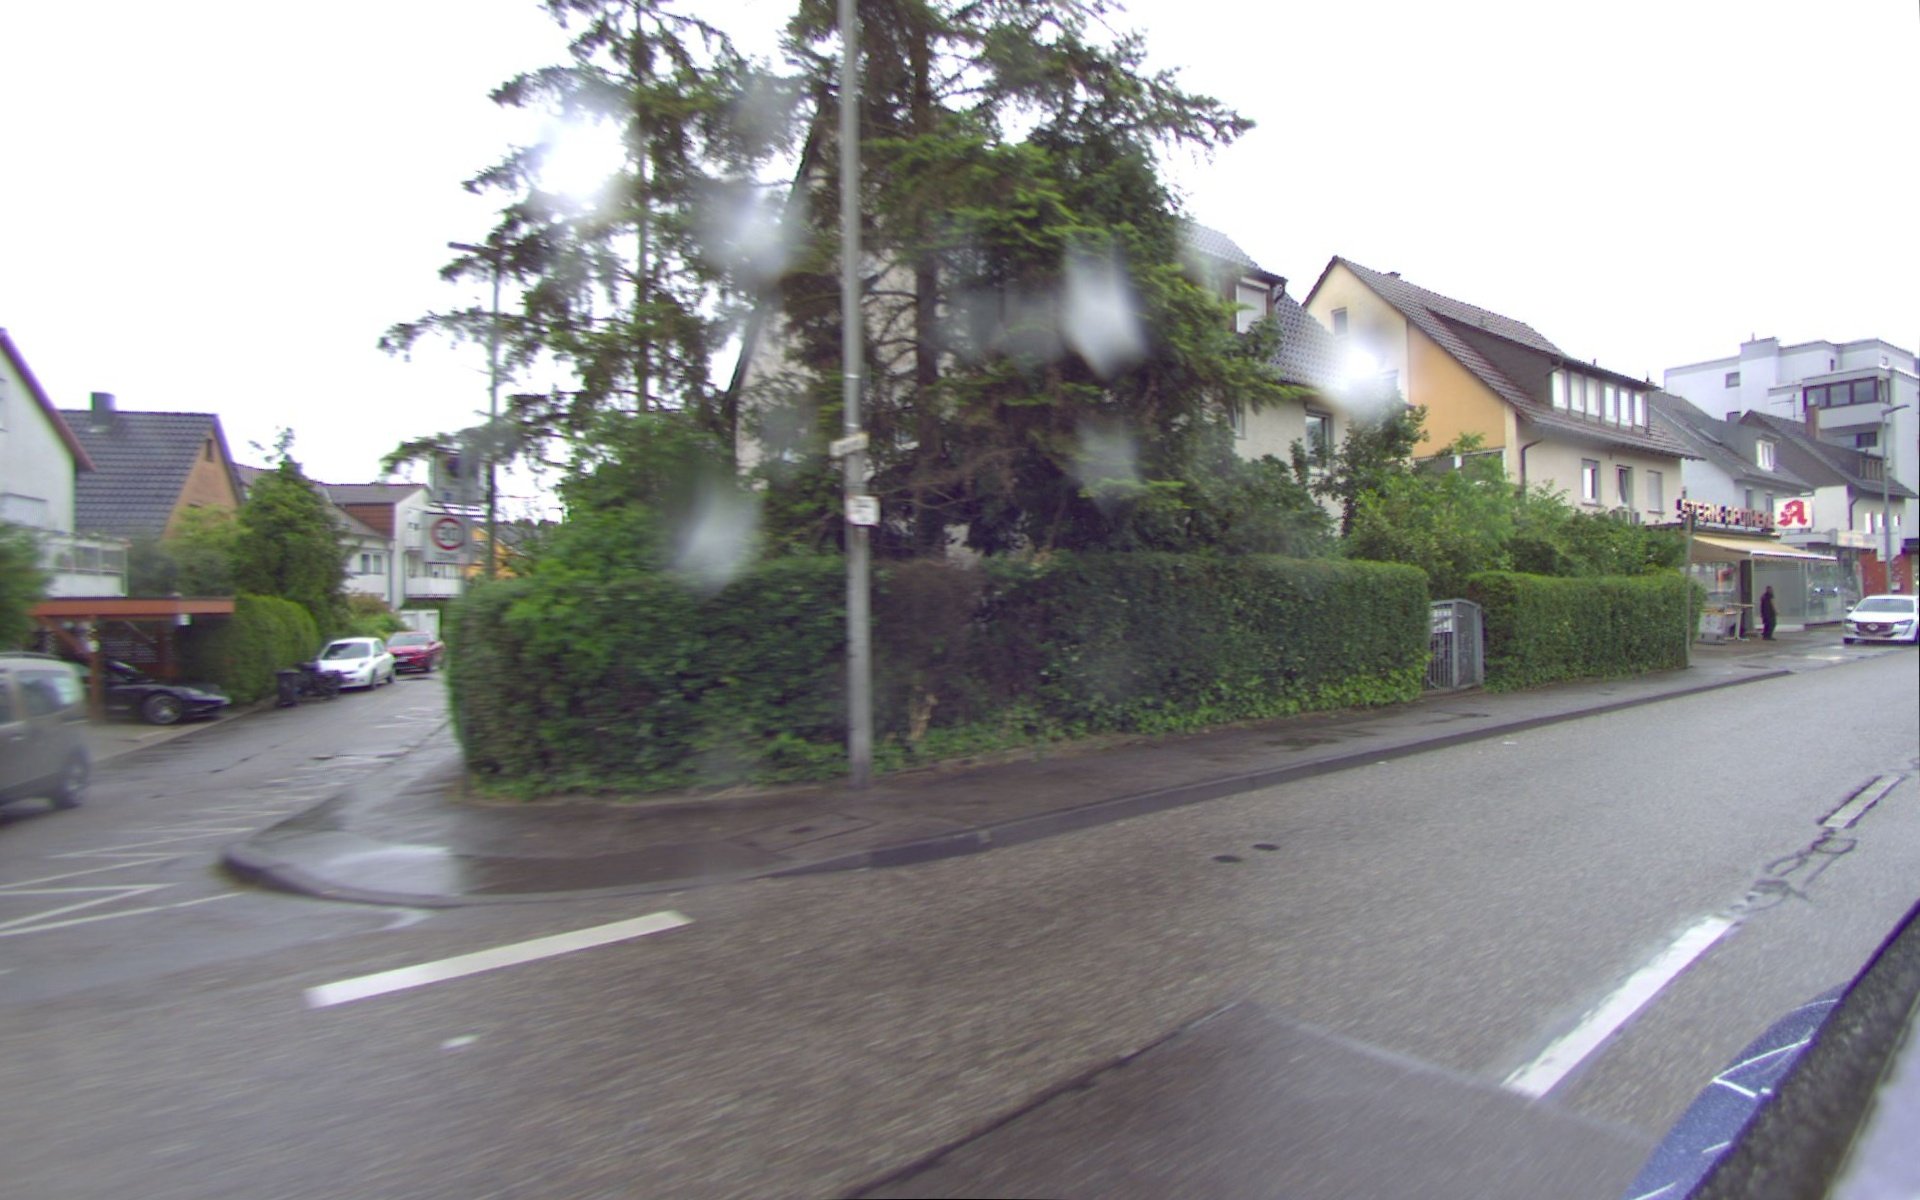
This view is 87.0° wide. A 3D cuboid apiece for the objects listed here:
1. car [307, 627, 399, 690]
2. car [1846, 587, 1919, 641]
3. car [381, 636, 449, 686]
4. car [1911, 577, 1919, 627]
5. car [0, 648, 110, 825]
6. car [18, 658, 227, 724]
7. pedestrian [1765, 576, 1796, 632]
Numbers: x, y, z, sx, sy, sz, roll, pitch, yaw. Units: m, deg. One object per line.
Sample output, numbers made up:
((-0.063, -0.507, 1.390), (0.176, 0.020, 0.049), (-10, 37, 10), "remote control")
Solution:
((-18.589, 1.833, 31.142), (1.595, 1.707, 4.005), (-3, -3, -19), "car")
((28.537, 0.369, 30.568), (4.125, 1.466, 1.821), (-1, 2, -36), "car")
((-20.501, 2.328, 38.211), (1.595, 1.707, 4.005), (-3, -3, -19), "car")
((36.049, 0.025, 36.162), (4.869, 1.716, 2.043), (-2, 3, -35), "car")
((-10.644, 1.405, 10.325), (1.750, 1.773, 4.299), (0, -3, -22), "car")
((-18.114, 1.939, 22.026), (3.110, 1.312, 1.520), (1, -2, -14), "car")
((25.324, 0.127, 31.254), (0.544, 1.700, 0.514), (-1, 0, 17), "pedestrian")
